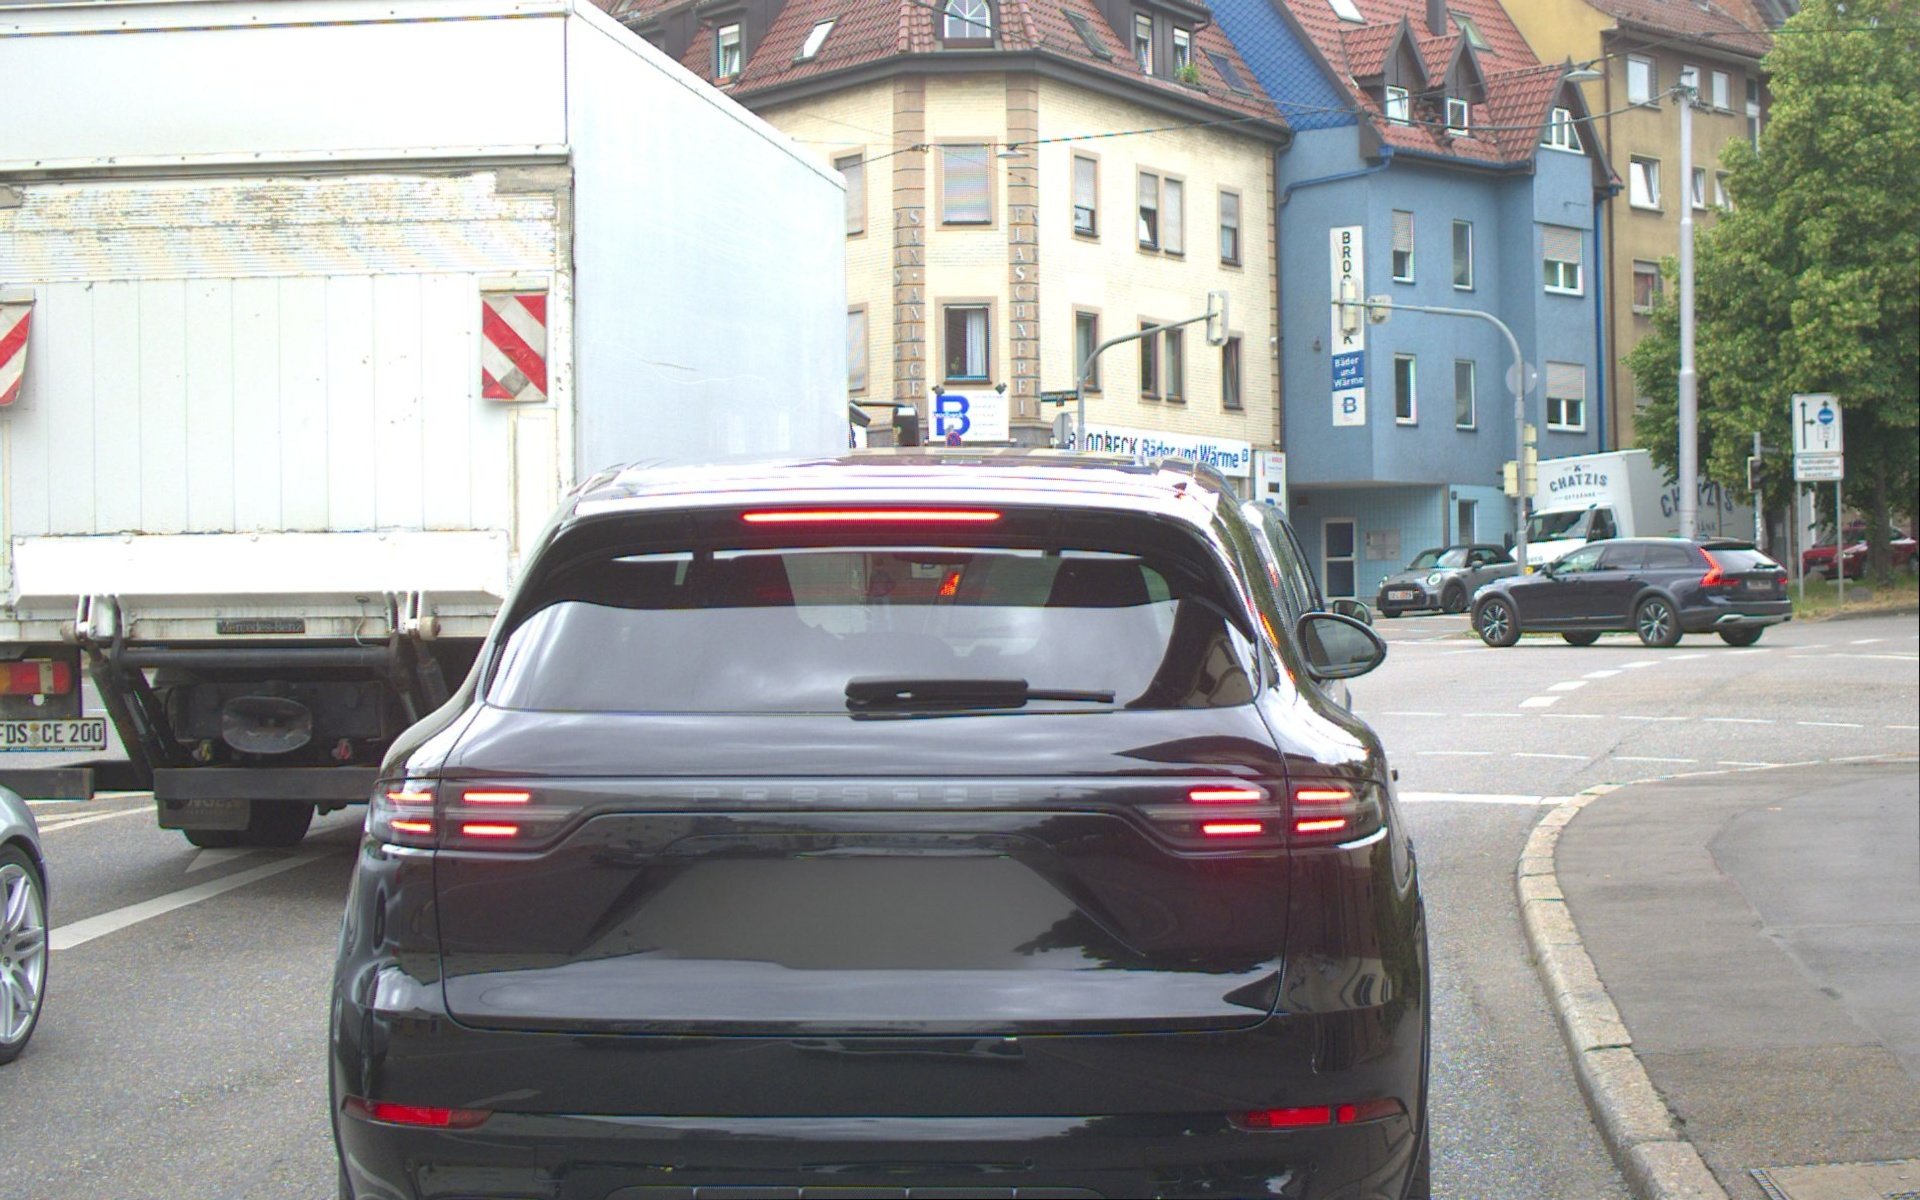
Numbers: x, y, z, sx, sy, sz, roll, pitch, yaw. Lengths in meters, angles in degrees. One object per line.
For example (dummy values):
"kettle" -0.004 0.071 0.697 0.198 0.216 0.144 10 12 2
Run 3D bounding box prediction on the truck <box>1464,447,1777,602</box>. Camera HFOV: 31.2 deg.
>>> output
"truck" 15.201 -1.673 78.558 2.880 3.328 8.772 2 1 41

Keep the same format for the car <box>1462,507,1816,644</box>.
"car" 9.306 -0.296 47.456 1.923 1.766 4.649 1 -1 -38

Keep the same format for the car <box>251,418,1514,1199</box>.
"car" -0.229 0.500 7.397 1.978 1.678 4.001 0 2 -3

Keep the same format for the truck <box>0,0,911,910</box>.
"truck" -2.235 -0.715 17.181 2.770 3.562 8.062 0 1 8

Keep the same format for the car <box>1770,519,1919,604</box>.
"car" 22.265 -0.950 86.268 1.999 2.007 3.990 2 1 43

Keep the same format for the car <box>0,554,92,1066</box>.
"car" -3.534 0.610 8.029 1.696 1.368 4.177 0 2 4

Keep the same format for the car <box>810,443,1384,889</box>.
"car" 0.752 0.221 15.065 1.994 1.678 3.998 0 1 10

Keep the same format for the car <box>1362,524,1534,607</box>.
"car" 10.224 -0.721 71.808 1.997 1.678 3.992 0 1 34

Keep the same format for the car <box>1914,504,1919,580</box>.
"car" 27.240 -1.465 91.309 1.999 2.007 3.990 2 1 43
